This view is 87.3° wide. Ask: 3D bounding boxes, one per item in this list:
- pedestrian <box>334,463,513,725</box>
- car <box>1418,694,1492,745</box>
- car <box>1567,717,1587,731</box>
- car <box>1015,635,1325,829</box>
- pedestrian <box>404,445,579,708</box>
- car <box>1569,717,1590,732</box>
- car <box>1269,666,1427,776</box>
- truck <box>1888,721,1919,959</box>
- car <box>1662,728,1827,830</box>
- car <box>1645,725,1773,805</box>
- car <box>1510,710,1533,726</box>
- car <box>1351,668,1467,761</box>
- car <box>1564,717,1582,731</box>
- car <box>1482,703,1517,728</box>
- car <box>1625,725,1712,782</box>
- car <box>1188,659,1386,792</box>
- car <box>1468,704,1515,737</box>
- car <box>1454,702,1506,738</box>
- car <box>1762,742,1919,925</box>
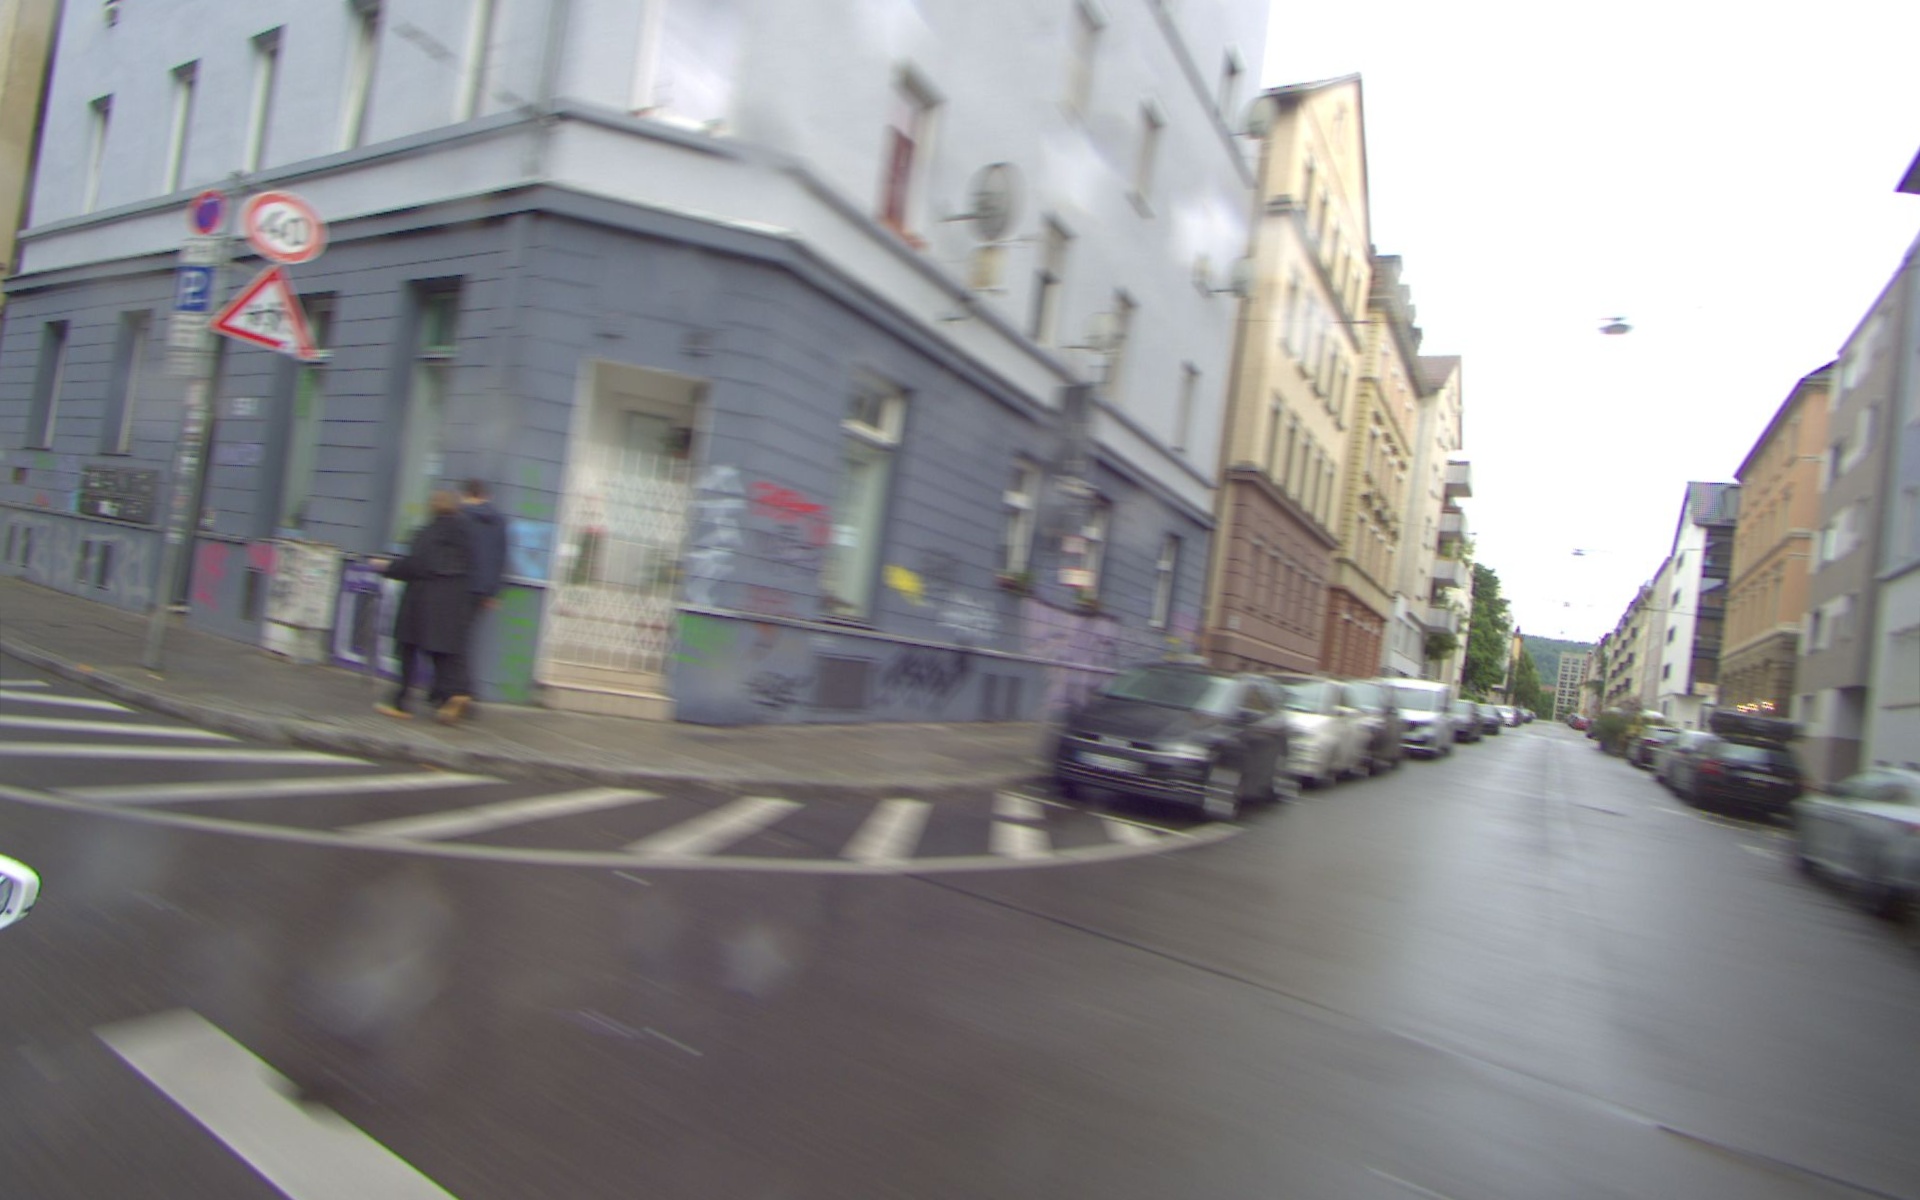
[{"bbox_3d":[-4.116,-0.039,7.737,0.807,1.873,0.663,7,-2,31],"label":"pedestrian"},{"bbox_3d":[17.720,4.266,35.918,1.758,1.462,4.218,7,-2,33],"label":"car"},{"bbox_3d":[76.485,15.404,124.753,1.756,1.447,4.428,7,-2,29],"label":"car"},{"bbox_3d":[2.410,1.347,10.692,1.758,1.447,3.993,7,-2,33],"label":"car"},{"bbox_3d":[-3.890,-0.187,8.375,0.807,2.036,0.738,7,-2,31],"label":"pedestrian"},{"bbox_3d":[72.295,14.527,117.402,1.756,1.447,4.428,7,-2,29],"label":"car"},{"bbox_3d":[7.188,2.199,18.384,1.758,1.548,3.993,7,-2,33],"label":"car"},{"bbox_3d":[7.552,1.785,5.665,2.048,1.839,5.072,7,-2,29],"label":"truck"},{"bbox_3d":[15.317,3.413,19.886,1.756,1.447,4.428,7,-2,29],"label":"car"},{"bbox_3d":[17.996,3.904,24.383,1.756,1.447,4.428,7,-2,29],"label":"car"},{"bbox_3d":[60.626,12.772,108.611,1.758,1.462,4.218,7,-2,33],"label":"car"},{"bbox_3d":[11.031,2.799,24.560,1.758,1.845,4.218,7,-2,33],"label":"car"},{"bbox_3d":[82.112,16.601,134.799,1.756,1.447,4.428,7,-2,29],"label":"car"},{"bbox_3d":[39.494,8.451,73.552,1.758,1.462,4.218,7,-2,33],"label":"car"},{"bbox_3d":[23.518,5.038,33.549,1.756,1.447,4.428,7,-2,29],"label":"car"},{"bbox_3d":[4.987,1.843,15.002,1.758,1.488,3.725,7,-2,33],"label":"car"},{"bbox_3d":[28.715,6.519,54.268,1.758,1.462,4.218,7,-2,33],"label":"car"},{"bbox_3d":[25.777,5.936,49.799,1.758,1.462,4.218,7,-2,33],"label":"car"},{"bbox_3d":[10.065,2.384,10.259,2.058,1.423,4.570,7,-2,29],"label":"car"}]
